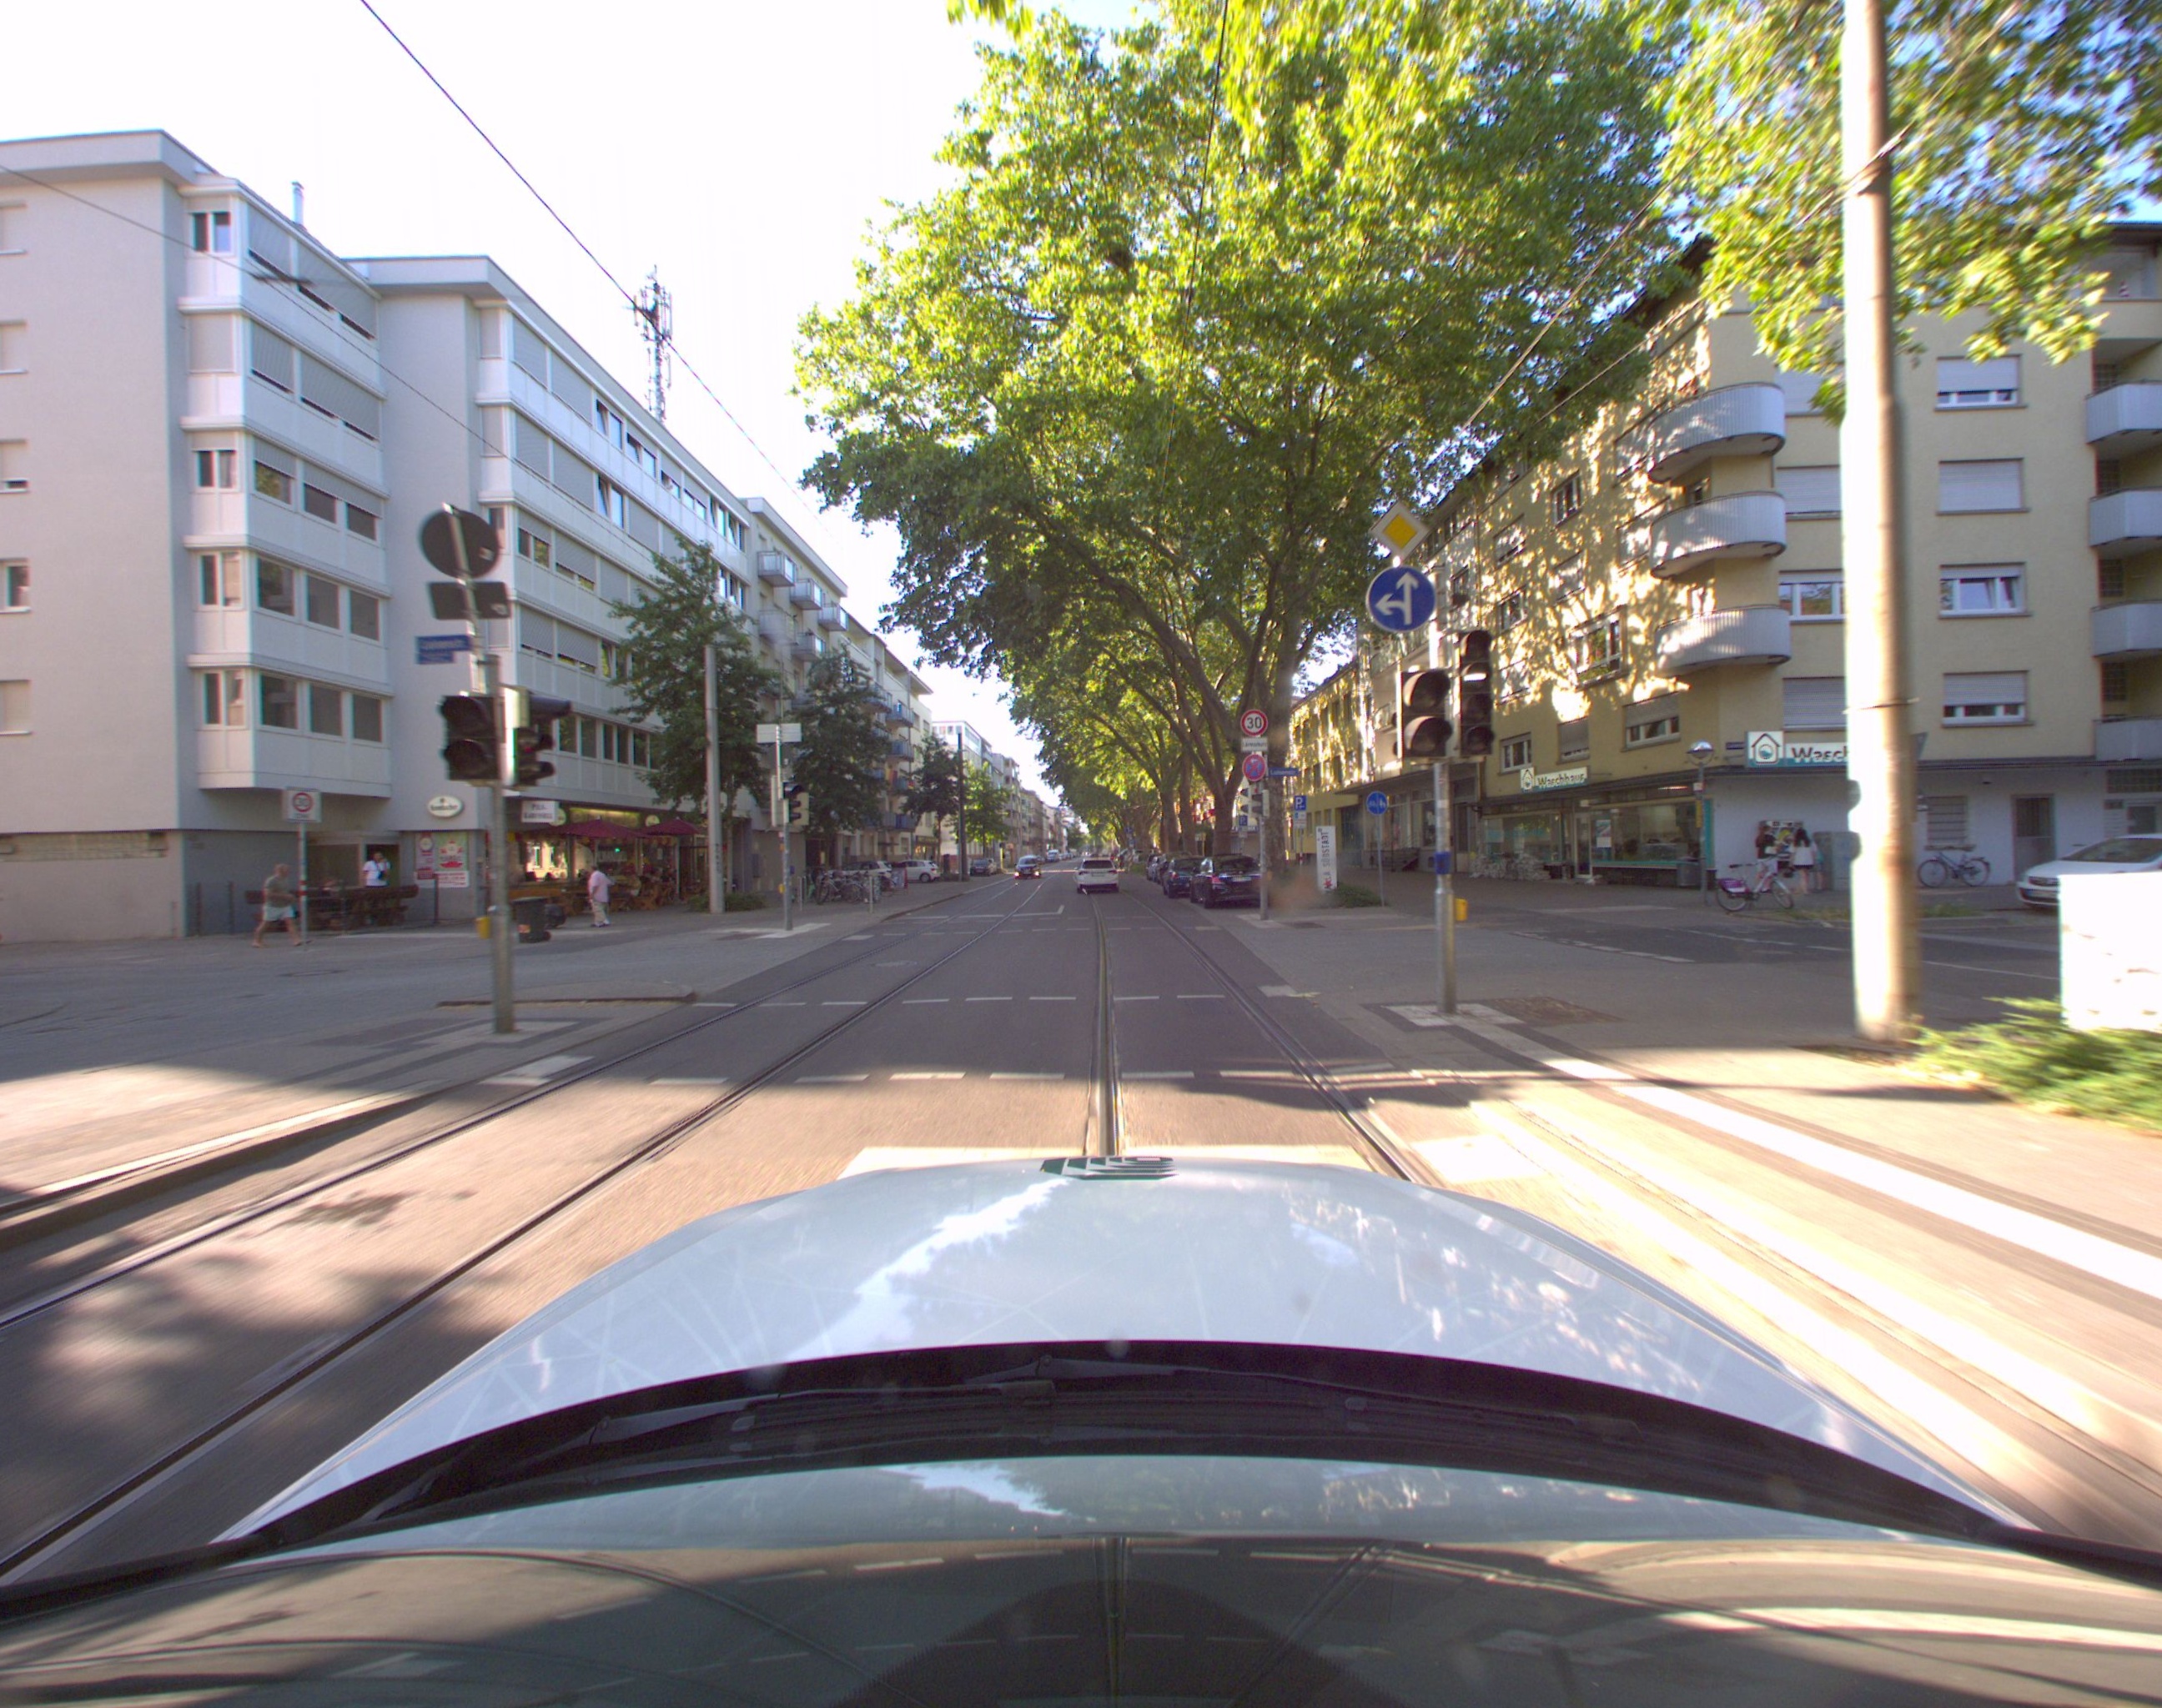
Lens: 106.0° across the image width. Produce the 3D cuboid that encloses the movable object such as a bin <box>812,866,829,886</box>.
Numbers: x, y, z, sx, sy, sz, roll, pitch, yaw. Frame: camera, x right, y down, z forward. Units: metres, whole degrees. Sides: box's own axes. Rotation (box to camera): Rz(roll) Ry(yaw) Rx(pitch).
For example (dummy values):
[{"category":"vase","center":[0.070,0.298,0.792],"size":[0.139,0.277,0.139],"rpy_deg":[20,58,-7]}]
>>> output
[{"category":"movable object such as a bin","center":[-14.226,1.201,44.517],"size":[0.675,1.055,0.622],"rpy_deg":[-2,0,3]}]

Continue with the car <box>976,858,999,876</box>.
[{"category":"car","center":[-8.359,1.145,72.885],"size":[1.709,1.464,4.372],"rpy_deg":[2,0,-2]}]

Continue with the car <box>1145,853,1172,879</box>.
[{"category":"car","center":[4.783,0.737,50.602],"size":[1.557,1.519,2.913],"rpy_deg":[-3,-1,3]}]

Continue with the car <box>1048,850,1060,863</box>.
[{"category":"car","center":[-5.731,0.556,173.974],"size":[2.170,2.597,4.950],"rpy_deg":[-2,0,1]}]

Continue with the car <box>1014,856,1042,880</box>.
[{"category":"car","center":[-3.734,0.990,57.562],"size":[1.867,1.590,4.142],"rpy_deg":[1,0,-3]}]

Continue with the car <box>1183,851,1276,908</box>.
[{"category":"car","center":[4.203,0.672,23.800],"size":[1.759,1.462,5.011],"rpy_deg":[-2,0,0]}]

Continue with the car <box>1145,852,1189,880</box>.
[{"category":"car","center":[4.799,0.695,46.064],"size":[1.812,1.436,4.599],"rpy_deg":[-3,-1,-2]}]

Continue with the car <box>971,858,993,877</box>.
[{"category":"car","center":[-8.269,1.110,68.097],"size":[1.711,1.464,3.992],"rpy_deg":[2,0,-6]}]

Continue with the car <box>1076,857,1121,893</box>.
[{"category":"car","center":[0.709,0.837,34.311],"size":[1.756,1.384,4.000],"rpy_deg":[-2,0,0]}]

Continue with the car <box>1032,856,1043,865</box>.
[{"category":"car","center":[-7.117,1.110,133.119],"size":[1.648,1.437,3.836],"rpy_deg":[-1,0,0]}]

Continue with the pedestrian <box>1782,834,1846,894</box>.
[{"category":"pedestrian","center":[17.950,0.230,19.961],"size":[0.838,1.415,0.767],"rpy_deg":[-2,0,-7]}]

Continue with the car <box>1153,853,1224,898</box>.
[{"category":"car","center":[3.830,0.745,29.755],"size":[1.860,1.437,4.223],"rpy_deg":[-3,0,-2]}]

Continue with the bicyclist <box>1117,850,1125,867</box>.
[{"category":"bicyclist","center":[3.641,0.410,74.733],"size":[0.676,1.443,1.047],"rpy_deg":[-2,0,2]}]

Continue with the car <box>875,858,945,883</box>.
[{"category":"car","center":[-10.806,1.032,51.668],"size":[4.001,1.475,1.850],"rpy_deg":[0,-1,-2]}]

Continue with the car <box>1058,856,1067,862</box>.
[{"category":"car","center":[-4.780,1.223,208.260],"size":[1.986,1.530,4.001],"rpy_deg":[-2,0,1]}]

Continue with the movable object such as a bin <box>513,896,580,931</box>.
[{"category":"movable object such as a bin","center":[-12.720,1.416,19.412],"size":[1.197,0.757,0.661],"rpy_deg":[0,-1,-21]}]

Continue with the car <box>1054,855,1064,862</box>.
[{"category":"car","center":[-5.257,1.106,194.300],"size":[1.986,1.530,4.001],"rpy_deg":[-2,0,1]}]

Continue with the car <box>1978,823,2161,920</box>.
[{"category":"car","center":[19.556,0.265,15.083],"size":[3.848,1.552,1.867],"rpy_deg":[-2,2,1]}]

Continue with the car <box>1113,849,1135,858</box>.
[{"category":"car","center":[12.196,-0.097,230.991],"size":[6.112,2.282,2.528],"rpy_deg":[-2,0,-1]}]

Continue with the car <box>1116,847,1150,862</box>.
[{"category":"car","center":[9.713,0.084,152.151],"size":[6.112,2.635,2.528],"rpy_deg":[-2,0,-1]}]

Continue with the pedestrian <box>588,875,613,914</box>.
[{"category":"pedestrian","center":[-15.051,1.256,25.506],"size":[0.512,1.198,0.561],"rpy_deg":[-2,0,-15]}]

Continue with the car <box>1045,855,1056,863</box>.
[{"category":"car","center":[-6.084,1.040,162.247],"size":[1.986,1.530,4.001],"rpy_deg":[-2,0,1]}]

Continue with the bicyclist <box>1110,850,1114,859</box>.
[{"category":"bicyclist","center":[5.206,0.069,136.232],"size":[0.647,1.344,0.934],"rpy_deg":[-2,0,-1]}]

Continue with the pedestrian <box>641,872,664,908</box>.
[{"category":"pedestrian","center":[-15.042,1.252,28.576],"size":[0.604,1.198,0.685],"rpy_deg":[-2,0,-34]}]

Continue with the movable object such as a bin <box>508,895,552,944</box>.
[{"category":"movable object such as a bin","center":[-11.293,1.323,16.710],"size":[0.540,0.932,0.647],"rpy_deg":[-2,0,-16]}]

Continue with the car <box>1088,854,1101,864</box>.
[{"category":"car","center":[2.113,0.765,126.333],"size":[1.755,1.475,4.002],"rpy_deg":[-2,0,2]}]

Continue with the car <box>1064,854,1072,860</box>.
[{"category":"car","center":[-3.651,0.860,230.292],"size":[1.986,1.640,4.001],"rpy_deg":[-1,-1,1]}]

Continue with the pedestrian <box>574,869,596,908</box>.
[{"category":"pedestrian","center":[-15.752,1.080,25.866],"size":[0.566,1.198,0.508],"rpy_deg":[-2,0,-34]}]

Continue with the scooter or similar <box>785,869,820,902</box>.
[{"category":"scooter or similar","center":[-10.090,1.127,29.521],"size":[1.076,1.176,0.498],"rpy_deg":[0,-1,-1]}]

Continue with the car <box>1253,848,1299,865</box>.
[{"category":"car","center":[19.979,0.259,83.470],"size":[4.123,1.593,1.997],"rpy_deg":[-1,0,-4]}]

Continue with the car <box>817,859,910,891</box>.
[{"category":"car","center":[-10.643,1.024,39.979],"size":[3.997,1.475,1.852],"rpy_deg":[-1,-1,2]}]

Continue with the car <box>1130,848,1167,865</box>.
[{"category":"car","center":[8.680,0.290,105.155],"size":[4.531,2.076,2.000],"rpy_deg":[-2,0,-1]}]

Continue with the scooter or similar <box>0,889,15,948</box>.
[{"category":"scooter or similar","center":[-23.293,1.392,17.224],"size":[0.500,1.259,1.293],"rpy_deg":[-1,0,-34]}]

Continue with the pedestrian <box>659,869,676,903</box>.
[{"category":"pedestrian","center":[-14.937,1.141,29.442],"size":[0.514,1.198,0.558],"rpy_deg":[-2,0,-28]}]

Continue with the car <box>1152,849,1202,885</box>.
[{"category":"car","center":[4.716,0.641,40.609],"size":[1.852,1.603,4.781],"rpy_deg":[-3,-1,0]}]
